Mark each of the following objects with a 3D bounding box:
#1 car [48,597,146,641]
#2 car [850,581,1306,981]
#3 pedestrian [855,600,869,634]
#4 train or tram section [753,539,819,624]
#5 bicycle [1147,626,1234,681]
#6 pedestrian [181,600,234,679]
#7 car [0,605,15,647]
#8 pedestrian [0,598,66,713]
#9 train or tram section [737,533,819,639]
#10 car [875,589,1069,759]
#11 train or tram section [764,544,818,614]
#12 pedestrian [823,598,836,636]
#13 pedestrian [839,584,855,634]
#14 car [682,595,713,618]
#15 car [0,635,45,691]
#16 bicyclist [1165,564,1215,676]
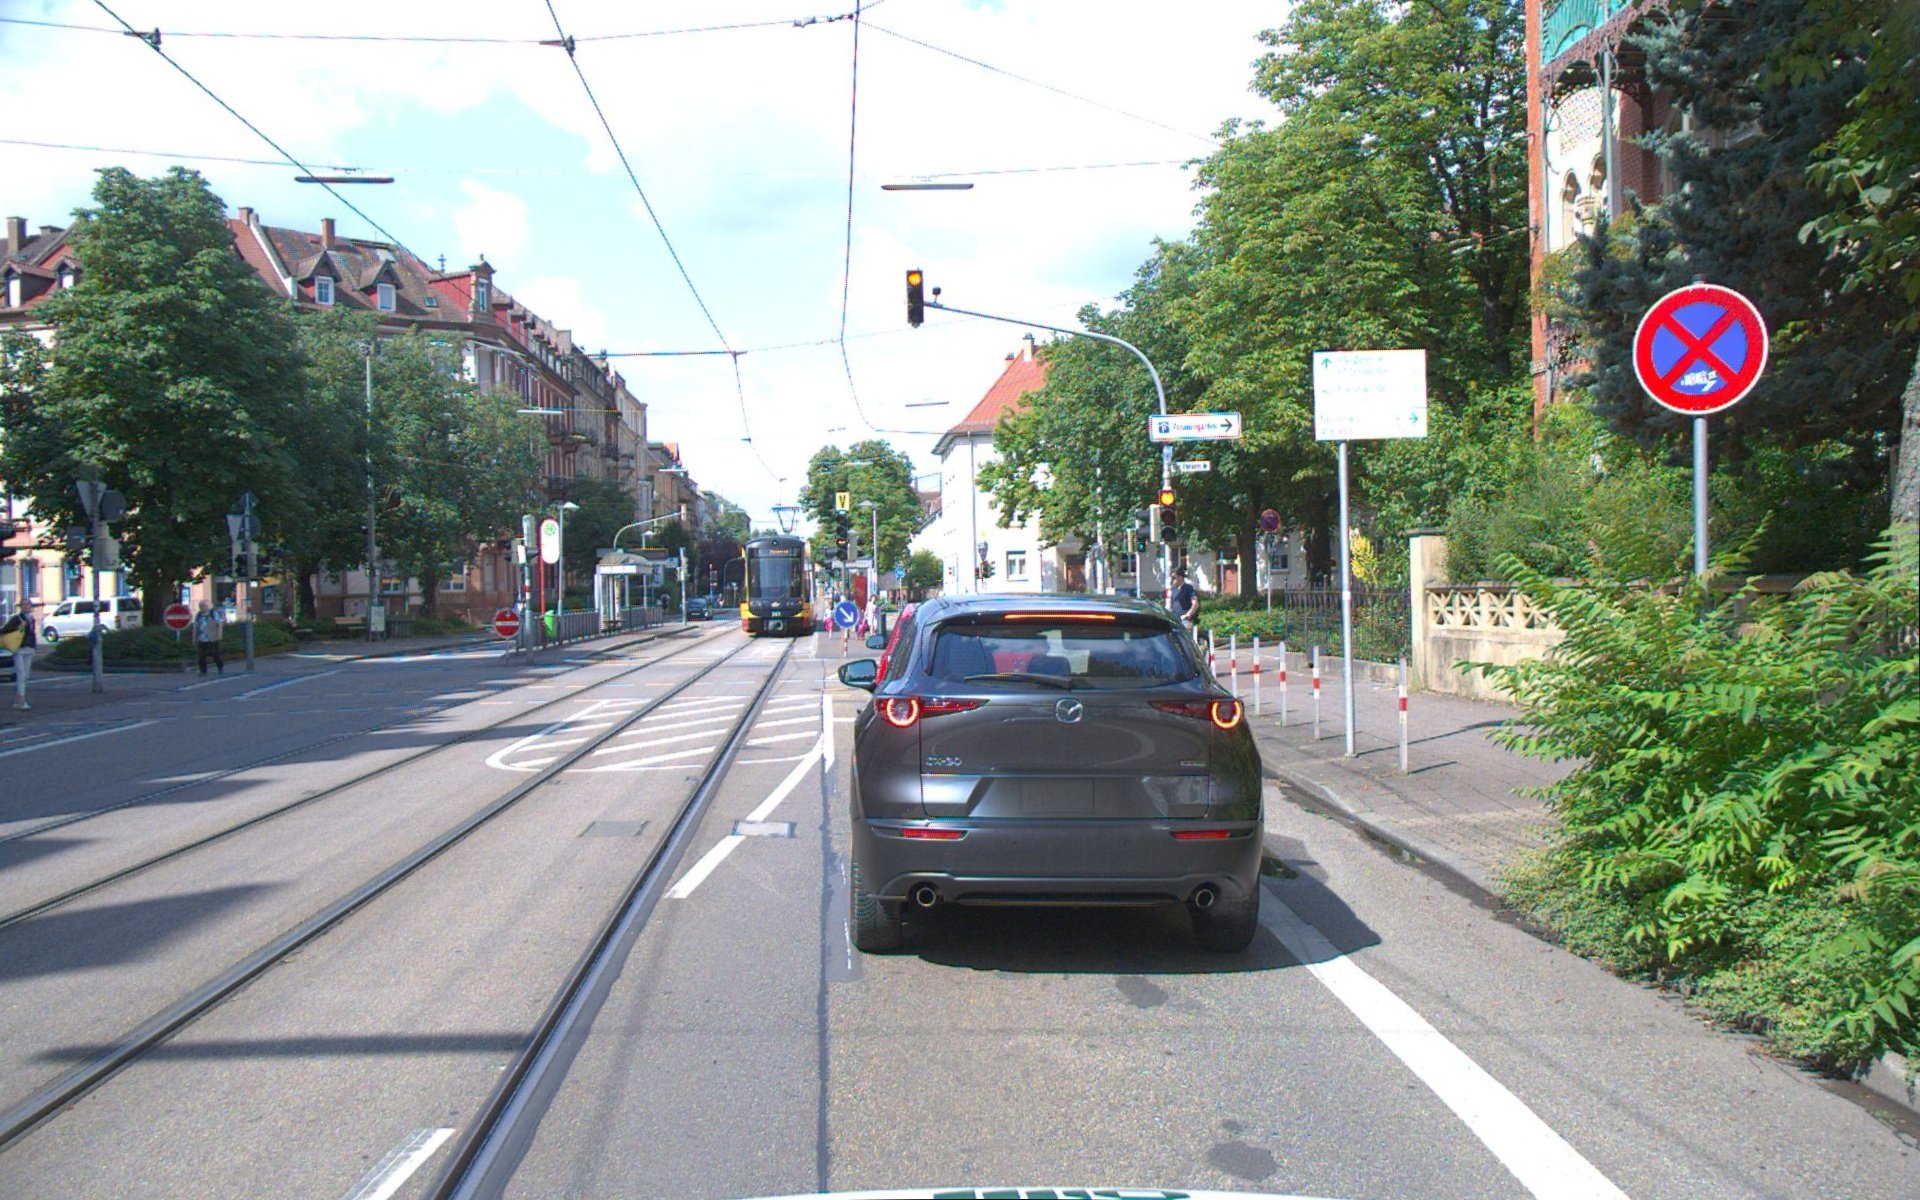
[{"bbox_3d":[-40.143,0.878,76.962,3.906,1.937,2.000,-1,0,23],"label":"car"},{"bbox_3d":[0.406,0.688,8.368,1.742,1.526,3.999,1,0,-2],"label":"car"},{"bbox_3d":[-2.924,0.502,49.300,0.372,1.001,0.474,-1,0,-6],"label":"pedestrian"},{"bbox_3d":[-8.078,-0.946,77.916,2.699,3.551,14.394,-1,1,-5],"label":"train or tram section"},{"bbox_3d":[3.862,0.878,27.651,1.685,0.838,0.487,-1,0,-43],"label":"bicycle"},{"bbox_3d":[-16.926,0.873,37.231,0.804,1.735,0.719,-1,0,4],"label":"pedestrian"},{"bbox_3d":[-39.620,1.063,64.878,3.906,1.624,2.000,-1,0,-1],"label":"car"},{"bbox_3d":[-14.938,0.879,26.565,0.672,1.785,0.798,-1,0,38],"label":"pedestrian"},{"bbox_3d":[-6.835,-0.644,63.591,2.699,3.551,14.394,-1,1,-5],"label":"train or tram section"},{"bbox_3d":[0.062,0.661,16.986,1.742,1.526,3.999,1,0,-2],"label":"car"},{"bbox_3d":[-9.329,-1.246,92.273,2.699,3.551,14.394,-1,1,-5],"label":"train or tram section"},{"bbox_3d":[-3.879,0.504,49.084,0.372,1.089,0.474,-1,0,-6],"label":"pedestrian"},{"bbox_3d":[-3.365,0.271,49.237,0.441,1.459,0.474,-1,0,-6],"label":"pedestrian"},{"bbox_3d":[-16.310,0.389,102.956,1.583,1.333,3.624,-1,0,-5],"label":"car"},{"bbox_3d":[-22.459,1.415,37.151,3.915,1.203,1.674,-1,0,33],"label":"car"},{"bbox_3d":[3.813,0.328,27.448,0.597,1.824,0.656,-1,0,-11],"label":"bicyclist"}]
